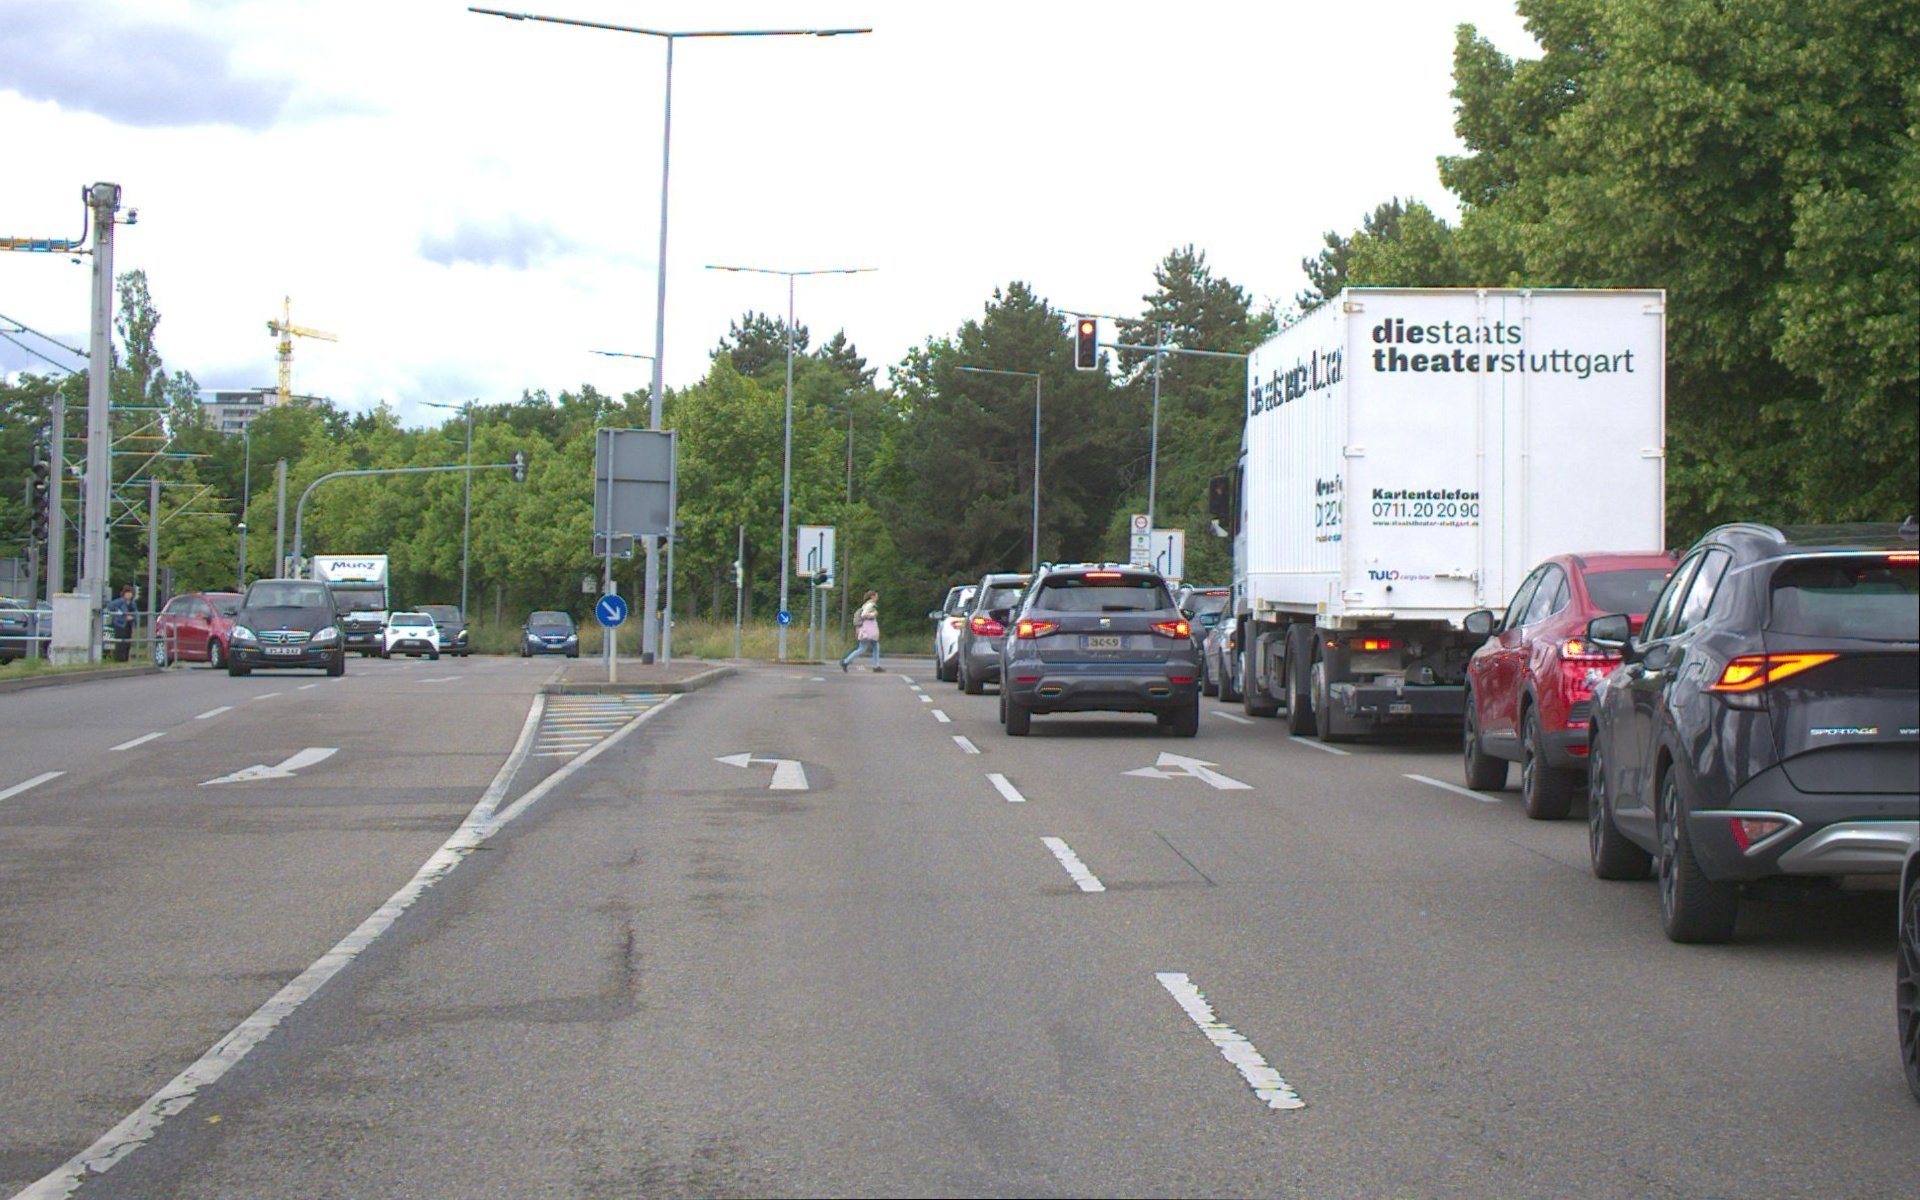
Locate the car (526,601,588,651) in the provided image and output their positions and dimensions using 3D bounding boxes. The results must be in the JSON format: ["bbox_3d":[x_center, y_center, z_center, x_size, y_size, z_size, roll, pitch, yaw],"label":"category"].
[{"bbox_3d":[-13.719,0.867,116.902,1.915,1.571,4.001,0,1,-9],"label":"car"}]

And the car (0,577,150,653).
[{"bbox_3d":[-19.873,0.311,74.669,3.988,1.590,2.000,0,1,7],"label":"car"}]

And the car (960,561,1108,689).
[{"bbox_3d":[0.908,0.283,44.018,1.799,1.518,4.187,0,1,0],"label":"car"}]

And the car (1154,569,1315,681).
[{"bbox_3d":[3.752,0.309,47.659,1.825,1.430,4.213,0,1,-1],"label":"car"}]

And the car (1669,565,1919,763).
[{"bbox_3d":[7.441,0.522,30.308,1.570,1.565,3.060,2,1,-3],"label":"car"}]

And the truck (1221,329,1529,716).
[{"bbox_3d":[4.135,-0.746,35.031,2.571,3.693,4.106,0,0,-1],"label":"truck"}]

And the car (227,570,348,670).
[{"bbox_3d":[-10.920,0.322,55.993,1.725,1.568,3.708,0,0,-8],"label":"car"}]

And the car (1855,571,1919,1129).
[{"bbox_3d":[3.286,0.680,7.386,1.671,1.442,4.489,1,1,2],"label":"car"}]

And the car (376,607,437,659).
[{"bbox_3d":[-17.717,1.037,109.980,1.775,1.503,3.748,1,1,-11],"label":"car"}]

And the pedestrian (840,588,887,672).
[{"bbox_3d":[-1.807,0.559,64.540,0.864,1.555,0.518,0,2,-3],"label":"pedestrian"}]

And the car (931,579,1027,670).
[{"bbox_3d":[0.302,0.419,58.171,1.535,1.499,2.670,0,-1,-2],"label":"car"}]

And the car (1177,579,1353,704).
[{"bbox_3d":[3.602,0.457,41.184,1.812,1.349,4.118,0,1,1],"label":"car"}]

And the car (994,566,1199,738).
[{"bbox_3d":[1.199,0.445,31.647,1.698,1.481,4.000,0,0,0],"label":"car"}]

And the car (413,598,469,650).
[{"bbox_3d":[-18.591,0.841,123.128,1.915,1.722,4.001,0,1,-10],"label":"car"}]

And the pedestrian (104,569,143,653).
[{"bbox_3d":[-15.843,0.207,65.097,0.353,1.551,0.652,2,3,32],"label":"pedestrian"}]

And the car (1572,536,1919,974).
[{"bbox_3d":[3.688,0.514,14.409,1.845,1.556,4.403,0,1,5],"label":"car"}]

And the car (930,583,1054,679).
[{"bbox_3d":[0.455,0.468,53.090,1.721,1.417,4.357,0,0,-2],"label":"car"}]

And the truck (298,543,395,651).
[{"bbox_3d":[-22.006,-0.160,122.974,2.659,3.637,9.505,2,0,-14],"label":"truck"}]

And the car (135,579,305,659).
[{"bbox_3d":[-15.246,0.364,70.721,1.703,1.483,4.085,-1,2,-40],"label":"car"}]

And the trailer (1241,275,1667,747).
[{"bbox_3d":[4.198,-0.719,30.872,2.565,3.693,7.764,0,0,-1],"label":"trailer"}]

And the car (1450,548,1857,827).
[{"bbox_3d":[4.115,0.462,21.040,1.707,1.519,4.319,0,0,1],"label":"car"}]
